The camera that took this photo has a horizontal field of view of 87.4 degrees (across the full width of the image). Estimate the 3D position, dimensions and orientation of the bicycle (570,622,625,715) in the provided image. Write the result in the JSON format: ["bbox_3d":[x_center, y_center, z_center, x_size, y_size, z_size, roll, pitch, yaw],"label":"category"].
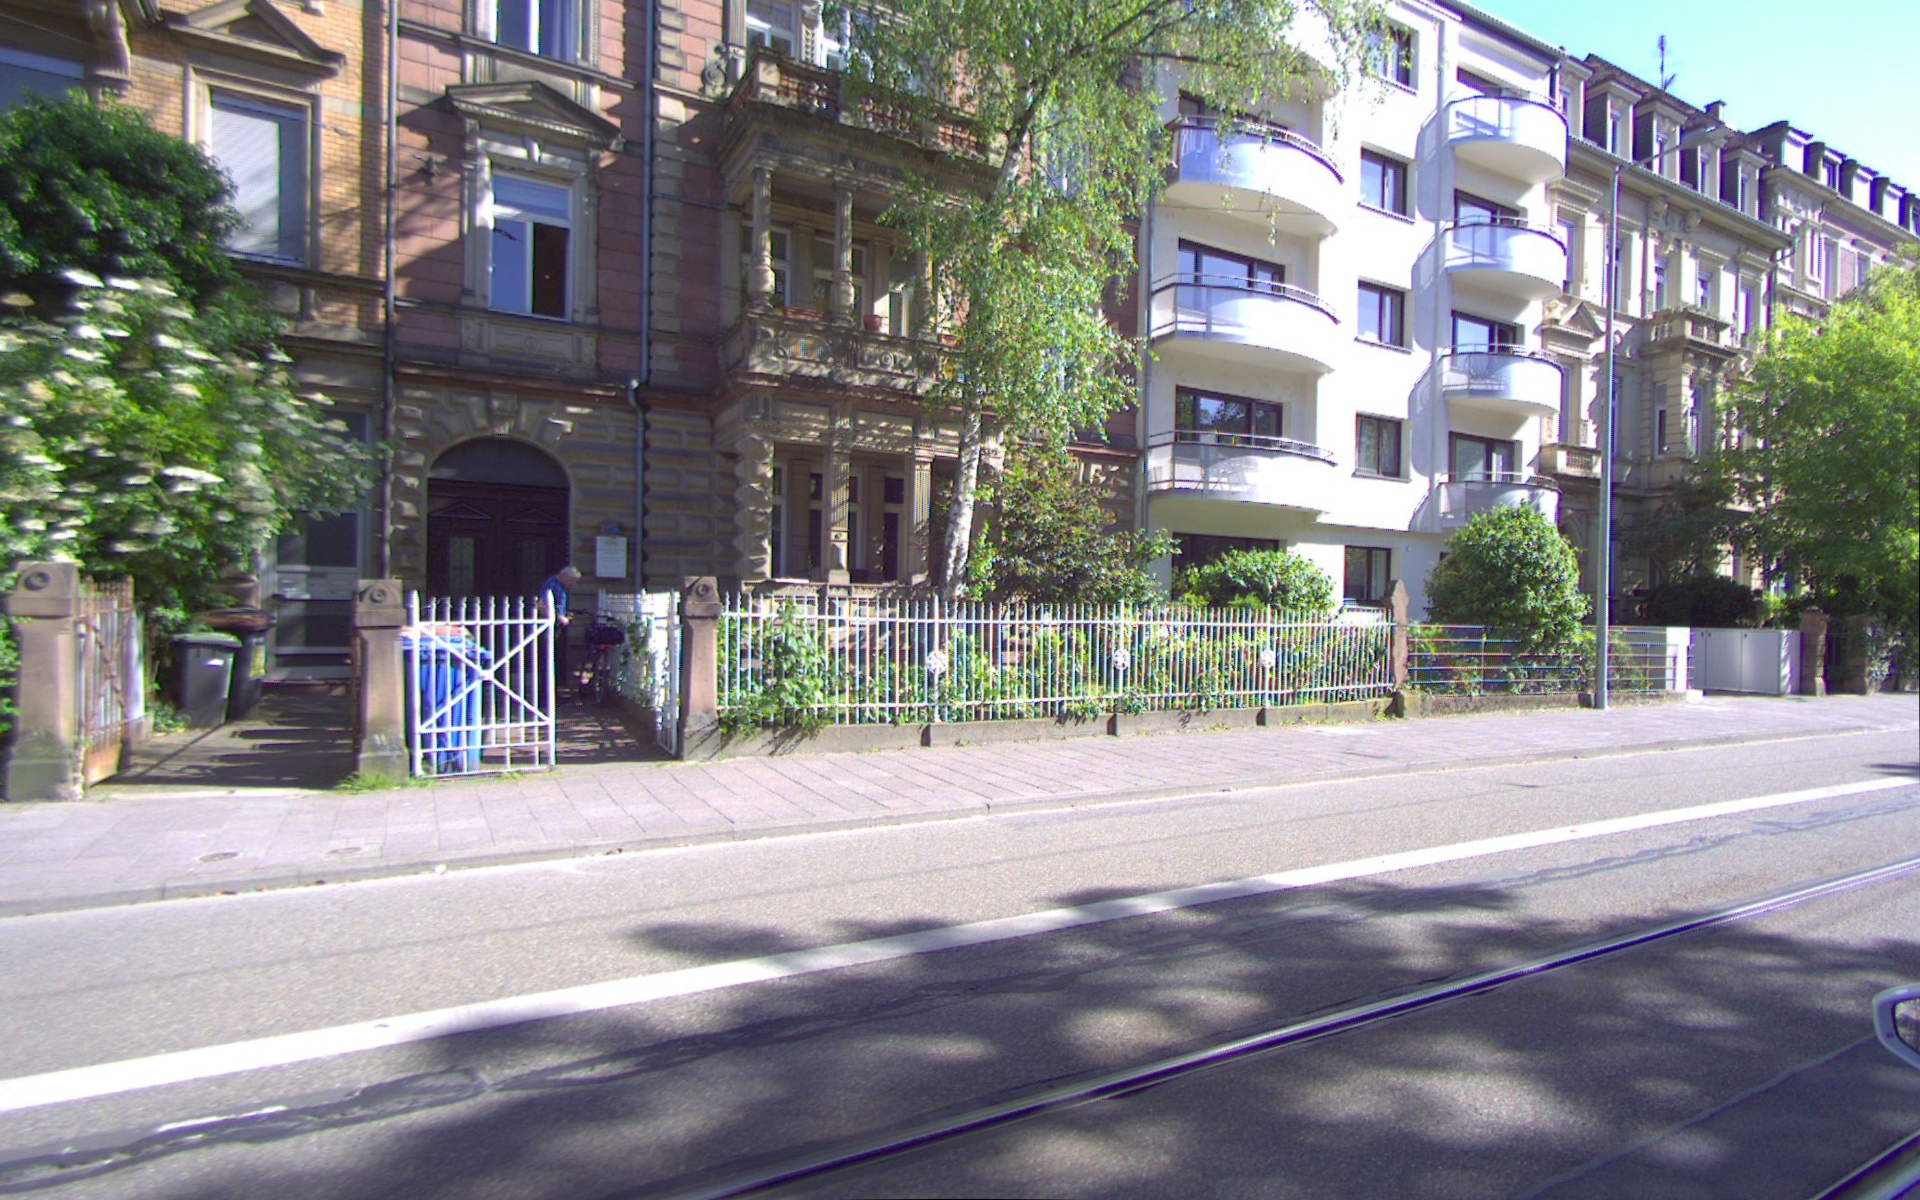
[{"bbox_3d":[-4.528,0.821,12.508,0.418,1.026,1.454,1,1,-28],"label":"bicycle"}]

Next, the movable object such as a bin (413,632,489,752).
[{"bbox_3d":[-4.852,0.856,9.565,0.612,1.068,0.582,1,1,-30],"label":"movable object such as a bin"}]

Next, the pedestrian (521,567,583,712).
[{"bbox_3d":[-4.918,0.457,12.099,0.600,1.695,0.511,1,1,-30],"label":"pedestrian"}]

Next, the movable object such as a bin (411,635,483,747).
[{"bbox_3d":[-5.195,0.898,10.164,0.612,1.068,0.582,1,1,-30],"label":"movable object such as a bin"}]

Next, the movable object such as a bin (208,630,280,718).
[{"bbox_3d":[-8.050,0.815,11.317,0.598,0.916,0.583,1,3,-30],"label":"movable object such as a bin"}]

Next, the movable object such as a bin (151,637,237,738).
[{"bbox_3d":[-7.636,0.858,10.035,0.598,0.916,0.583,1,3,-30],"label":"movable object such as a bin"}]

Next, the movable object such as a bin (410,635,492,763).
[{"bbox_3d":[-4.558,0.863,8.986,0.612,1.068,0.582,1,1,-30],"label":"movable object such as a bin"}]

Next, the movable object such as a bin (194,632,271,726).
[{"bbox_3d":[-7.766,0.828,10.742,0.598,0.916,0.583,1,3,-30],"label":"movable object such as a bin"}]
